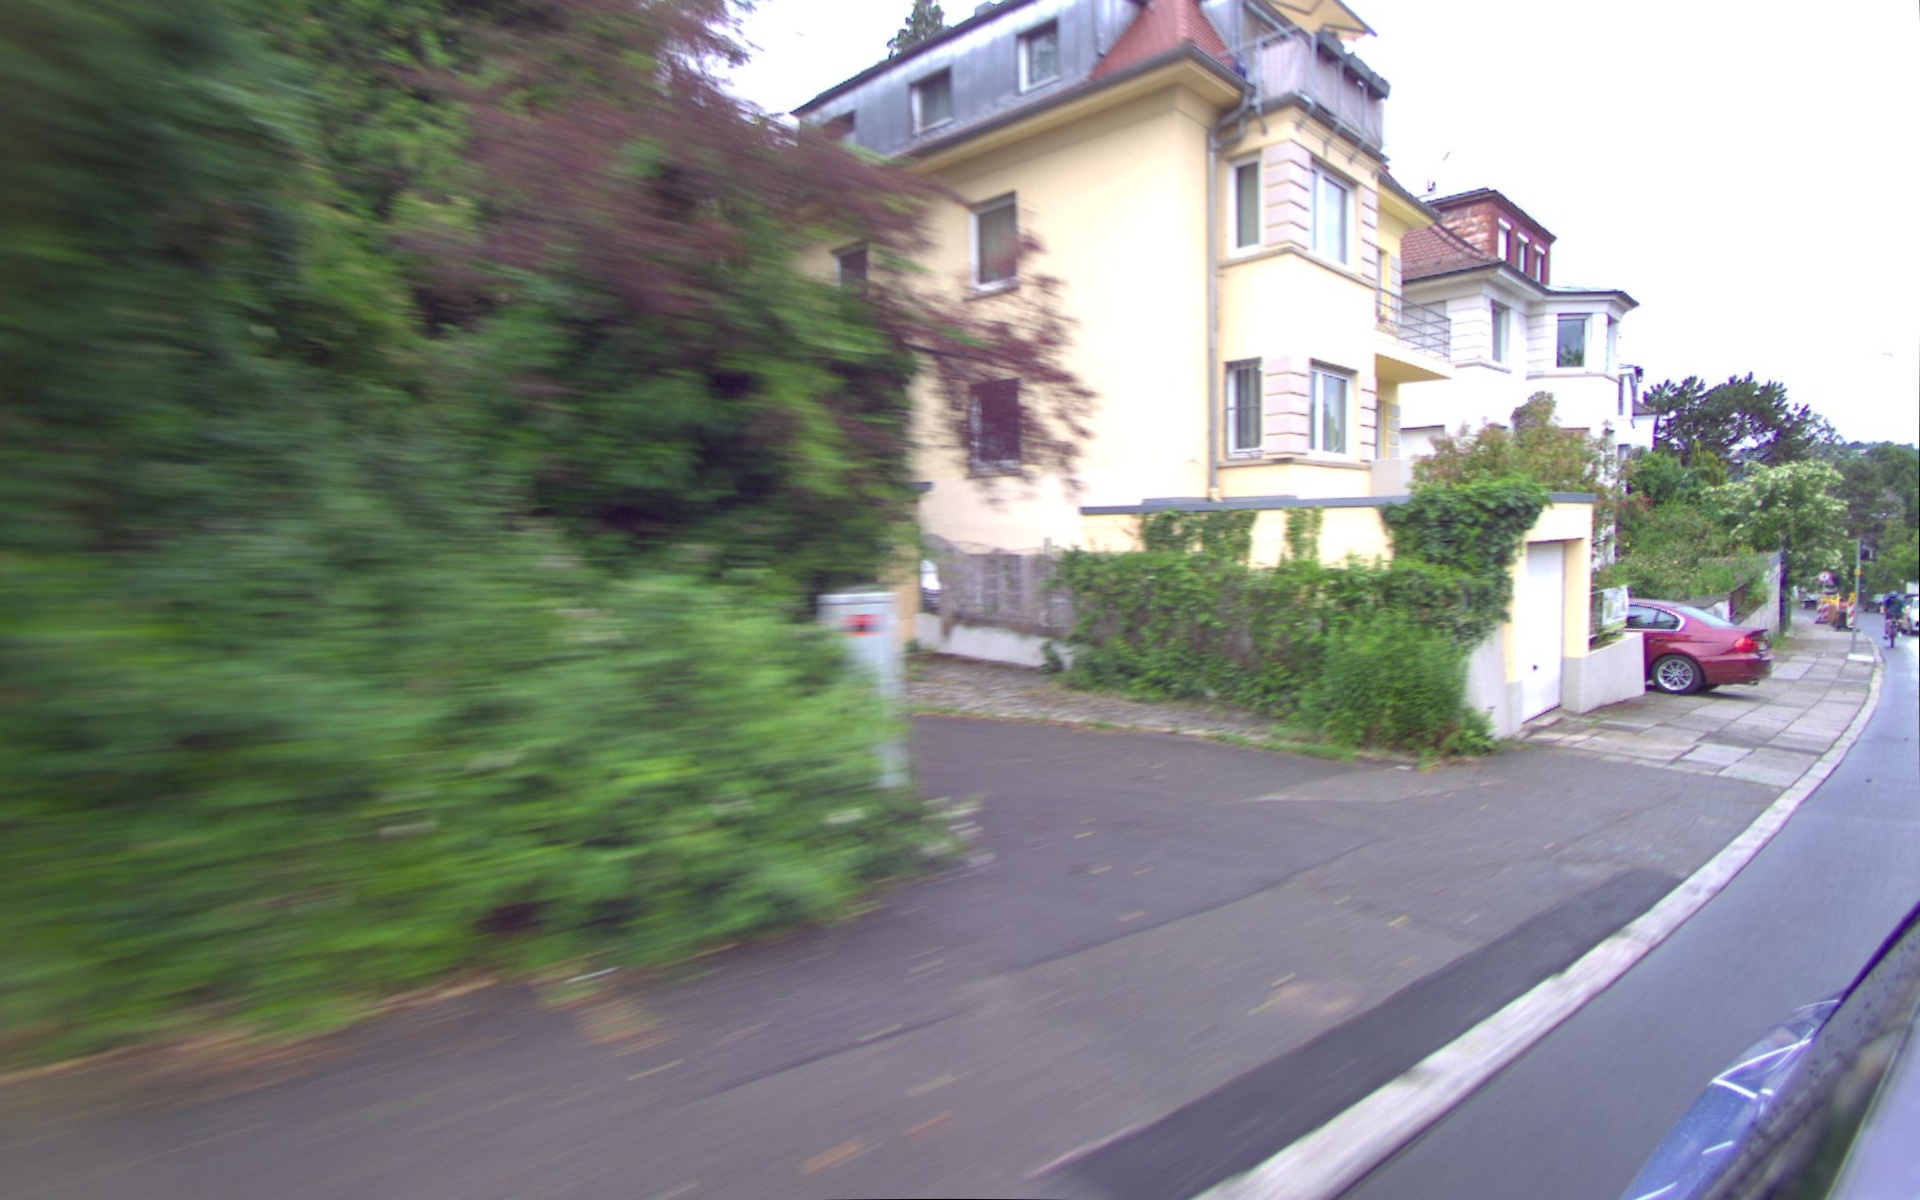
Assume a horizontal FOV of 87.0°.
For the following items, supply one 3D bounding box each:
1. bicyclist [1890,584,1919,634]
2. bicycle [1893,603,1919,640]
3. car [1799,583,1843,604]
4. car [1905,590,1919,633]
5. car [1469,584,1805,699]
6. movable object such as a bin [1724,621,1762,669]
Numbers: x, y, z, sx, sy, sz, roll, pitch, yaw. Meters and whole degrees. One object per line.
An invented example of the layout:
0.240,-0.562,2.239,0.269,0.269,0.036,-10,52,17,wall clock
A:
30.004,0.282,32.089,0.682,1.557,0.773,-1,0,41,bicyclist
30.015,0.671,32.090,0.588,1.113,1.506,0,1,41,bicycle
85.153,-0.619,100.152,1.976,1.738,3.968,-6,-4,22,car
41.113,0.460,42.124,2.007,1.760,4.540,0,0,36,car
10.802,0.564,16.394,1.802,1.423,4.178,1,3,-42,car
15.543,0.880,20.083,0.568,0.911,0.519,0,0,42,movable object such as a bin
